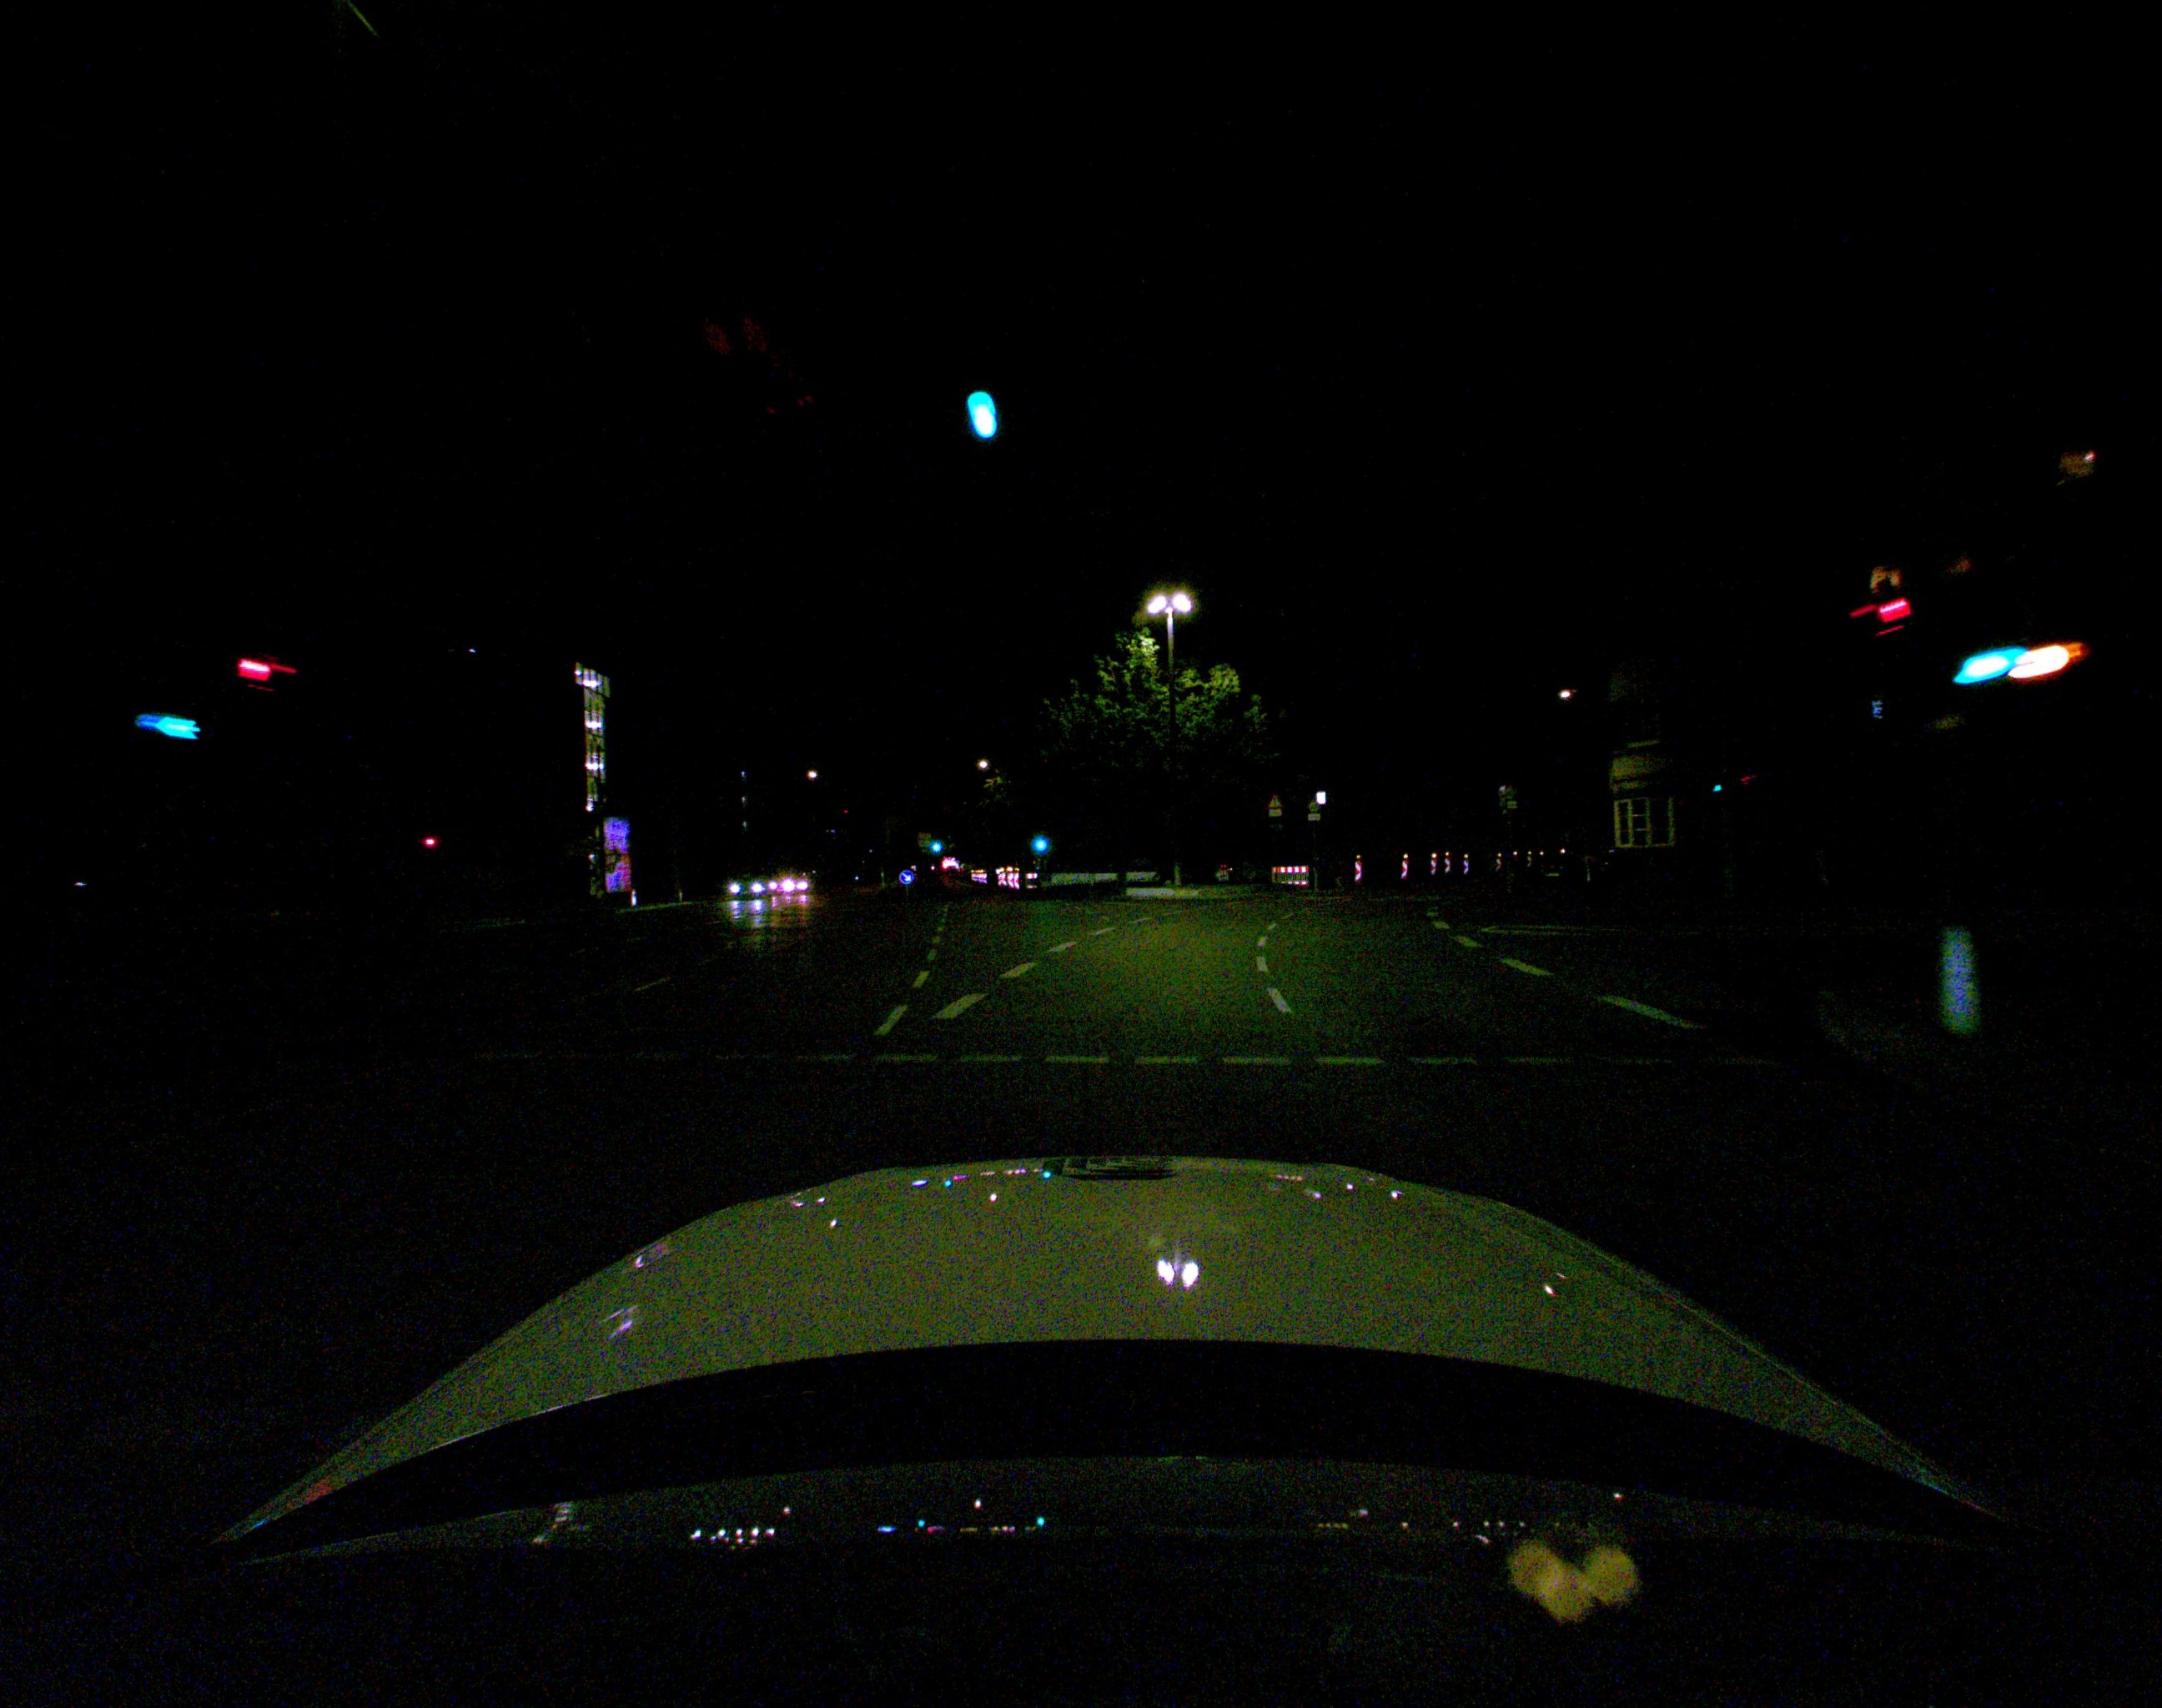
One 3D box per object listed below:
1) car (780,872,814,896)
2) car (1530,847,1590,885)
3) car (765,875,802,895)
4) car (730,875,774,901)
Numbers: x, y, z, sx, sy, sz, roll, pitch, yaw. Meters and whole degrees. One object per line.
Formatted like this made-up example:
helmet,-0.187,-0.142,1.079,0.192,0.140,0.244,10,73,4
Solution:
car,-22.225,2.346,63.839,1.757,1.728,3.537,-1,-2,-8
car,22.066,0.553,37.470,1.711,1.612,3.646,-3,-2,40
car,-21.345,2.202,58.491,1.757,1.322,3.537,-1,-1,-8
car,-20.589,2.085,51.082,1.614,1.515,3.989,-1,-1,-8
